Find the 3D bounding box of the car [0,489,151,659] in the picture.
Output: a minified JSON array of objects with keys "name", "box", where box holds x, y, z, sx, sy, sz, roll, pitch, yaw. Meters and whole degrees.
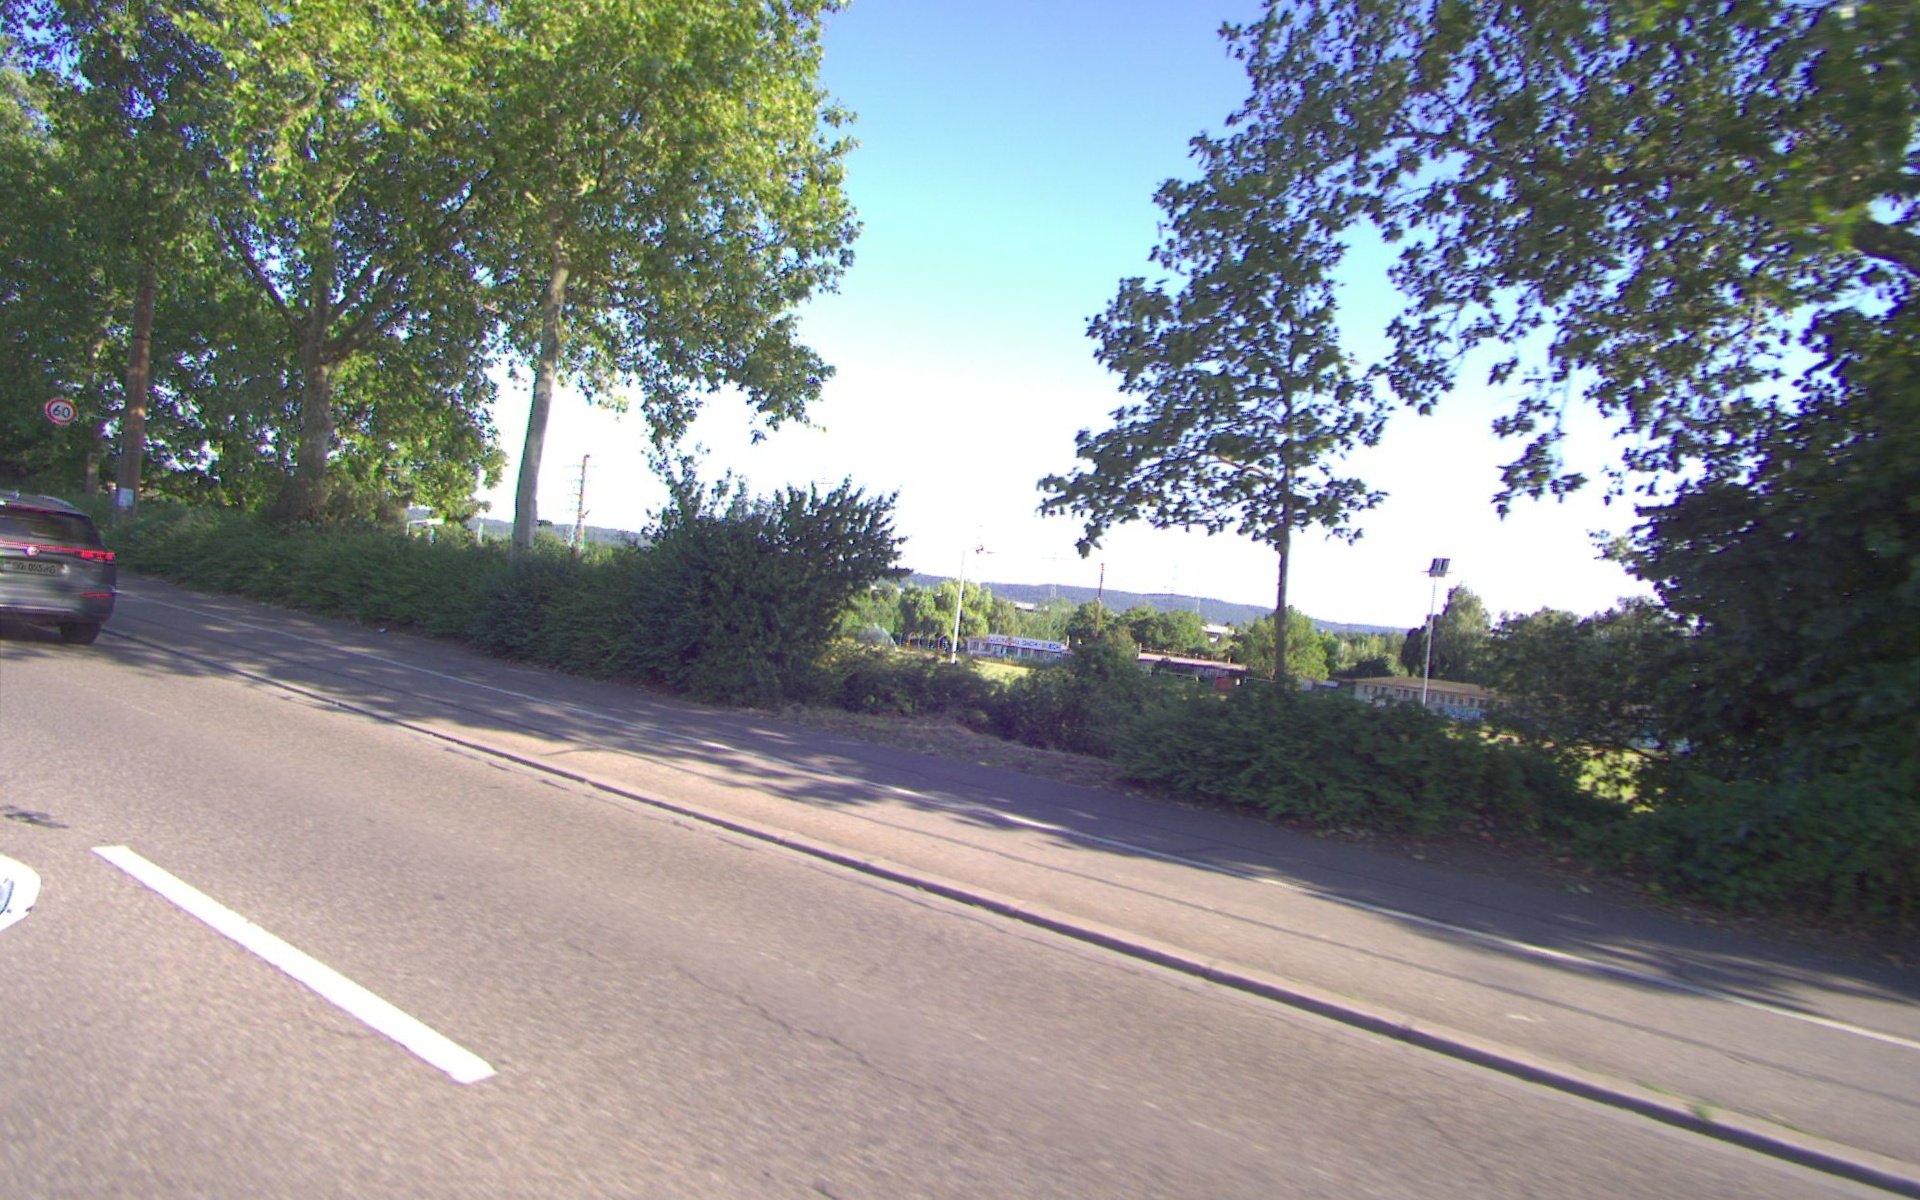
[{"name":"car","box":[-11.552,-0.484,11.690,4.365,1.680,1.848,7,-1,31]}]
